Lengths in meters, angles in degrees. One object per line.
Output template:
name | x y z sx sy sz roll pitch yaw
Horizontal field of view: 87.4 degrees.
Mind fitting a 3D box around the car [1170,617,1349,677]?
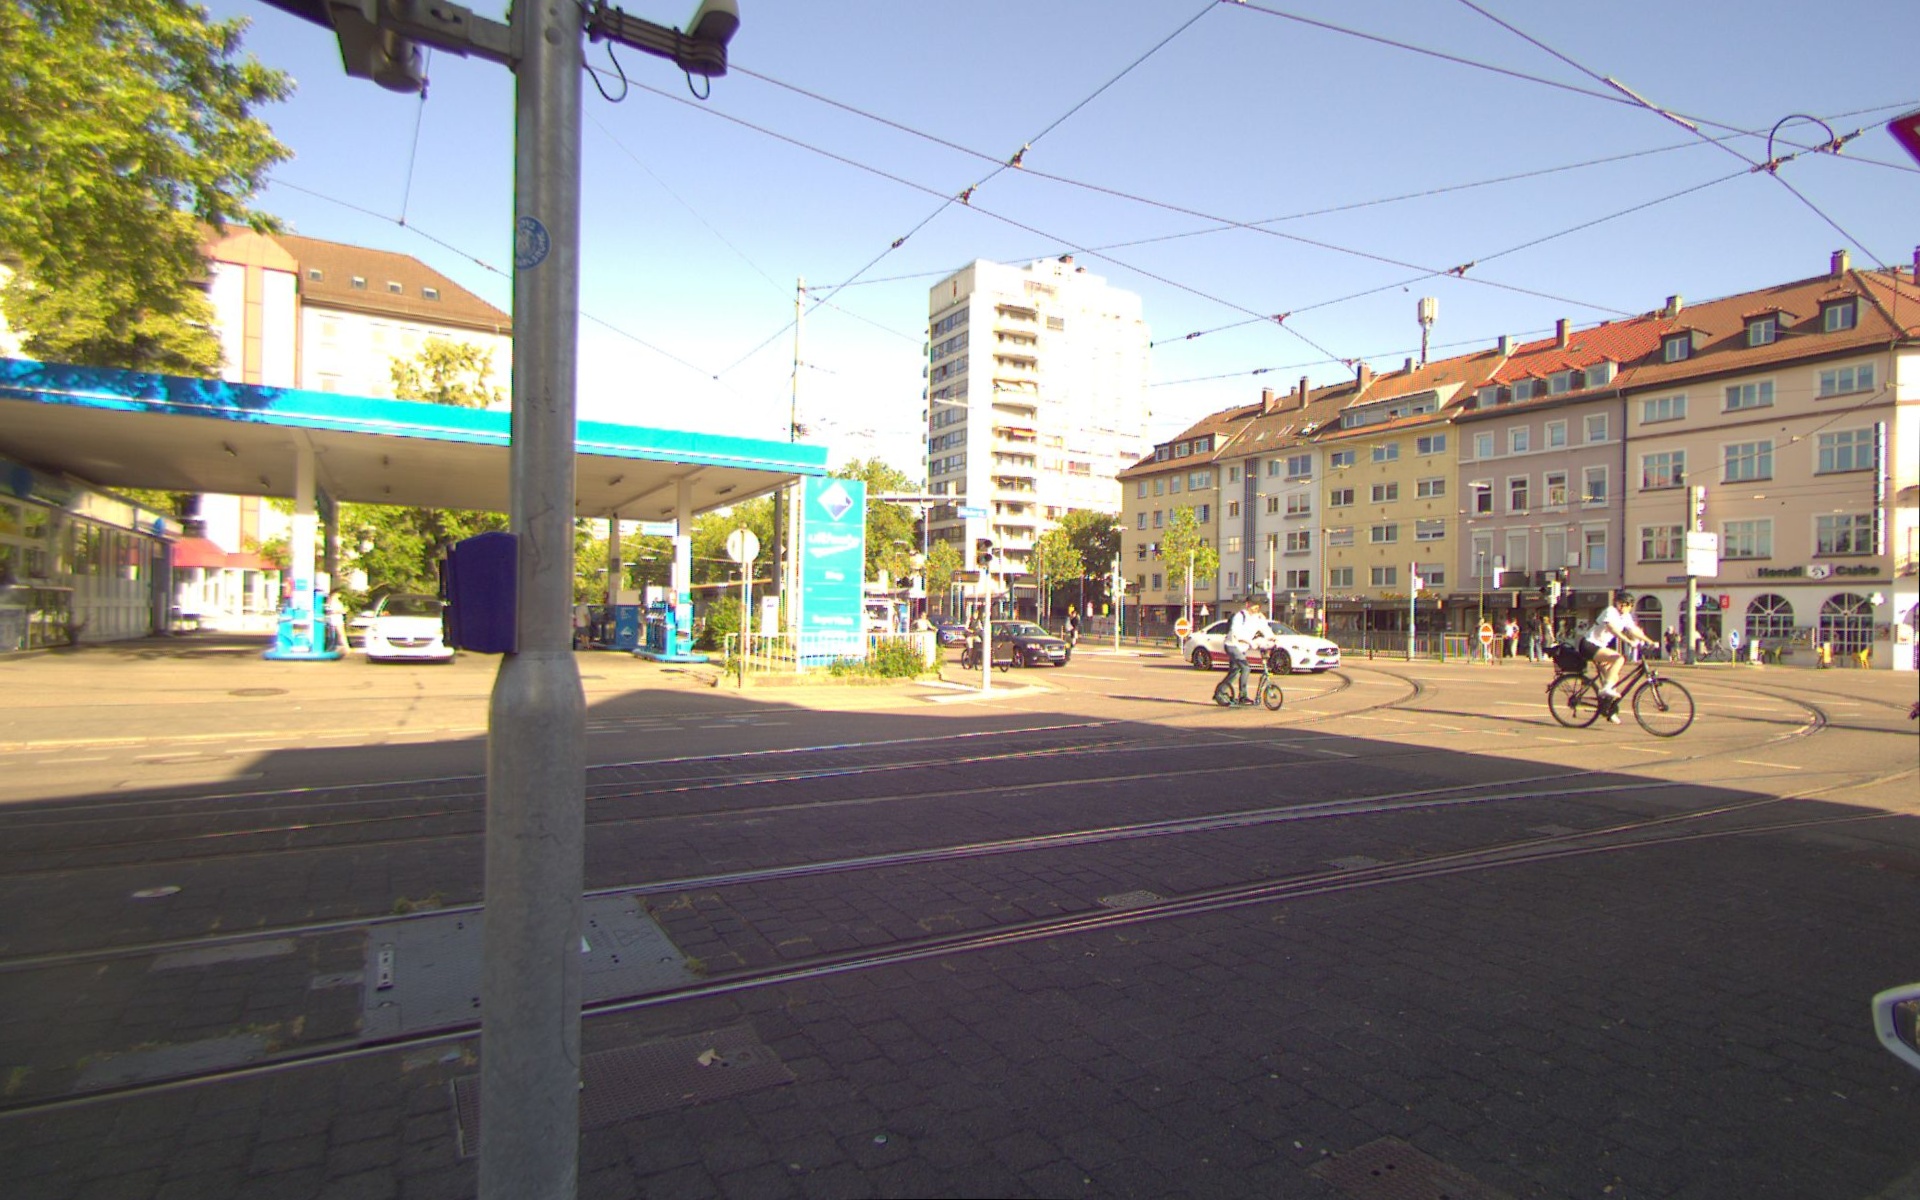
car | 8.079 1.223 27.515 1.725 1.492 4.639 1 -1 -36

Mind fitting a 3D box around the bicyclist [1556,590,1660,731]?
bicyclist | 8.374 0.753 12.996 0.727 1.735 0.932 1 -1 -37

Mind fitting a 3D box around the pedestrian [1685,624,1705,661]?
pedestrian | 34.399 1.980 47.010 0.731 1.704 0.626 0 -1 35

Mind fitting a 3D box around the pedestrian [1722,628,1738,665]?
pedestrian | 26.953 1.631 35.140 0.447 1.270 0.361 1 -1 -41

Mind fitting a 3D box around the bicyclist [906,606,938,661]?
bicyclist | -1.234 1.093 32.503 0.725 1.737 0.794 1 -2 -31

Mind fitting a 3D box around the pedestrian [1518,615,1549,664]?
pedestrian | 22.216 1.528 38.899 0.714 1.853 0.763 1 -1 -30

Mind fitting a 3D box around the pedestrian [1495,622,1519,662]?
pedestrian | 22.632 1.724 41.562 0.554 1.602 0.694 1 -1 -35

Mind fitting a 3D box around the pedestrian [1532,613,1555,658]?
pedestrian | 23.312 1.413 40.129 0.553 1.810 0.557 1 -1 -30

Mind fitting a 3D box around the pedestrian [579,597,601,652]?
pedestrian | -11.818 0.782 32.058 0.579 1.715 0.756 1 -1 -25

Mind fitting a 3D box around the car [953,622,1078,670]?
car | 1.666 1.383 31.470 1.630 1.399 4.241 1 -2 -36

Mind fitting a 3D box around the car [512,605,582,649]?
car | -13.572 0.854 32.874 1.697 1.360 3.970 1 -1 -28

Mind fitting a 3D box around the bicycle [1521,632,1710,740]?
bicycle | 8.402 1.054 12.958 0.736 1.239 1.909 1 -1 -37

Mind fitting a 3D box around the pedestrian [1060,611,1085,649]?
pedestrian | 4.887 1.307 43.703 0.788 1.632 0.766 1 -1 -36

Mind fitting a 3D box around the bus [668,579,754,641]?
bus | -15.139 0.518 60.610 2.755 3.504 8.571 0 1 -30

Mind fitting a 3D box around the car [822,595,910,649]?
car | -4.615 1.018 48.659 2.059 2.465 5.079 0 0 -34

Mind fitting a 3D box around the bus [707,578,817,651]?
bus | -10.619 0.648 52.871 2.748 3.504 9.364 0 1 -31

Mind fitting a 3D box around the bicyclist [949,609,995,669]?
bicyclist | 0.335 1.092 28.578 0.923 1.659 1.020 1 -1 -30

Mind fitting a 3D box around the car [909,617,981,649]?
car | -0.770 1.533 47.866 1.697 1.439 4.149 1 -1 -28

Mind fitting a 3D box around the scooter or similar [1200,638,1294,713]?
scooter or similar | 4.423 1.143 15.555 0.558 1.057 1.424 1 -1 -30

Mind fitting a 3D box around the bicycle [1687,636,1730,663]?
bicycle | 37.713 2.471 50.615 1.693 1.293 0.385 0 -1 44

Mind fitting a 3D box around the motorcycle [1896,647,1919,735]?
motorcycle | 13.202 1.193 12.663 0.500 1.133 2.008 1 -1 -40

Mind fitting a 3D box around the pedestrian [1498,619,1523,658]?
pedestrian | 24.186 1.682 44.148 0.621 1.704 0.763 1 -1 -30

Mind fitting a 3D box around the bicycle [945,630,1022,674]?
bicycle | 0.633 1.432 28.045 1.047 1.116 2.500 1 -1 -29

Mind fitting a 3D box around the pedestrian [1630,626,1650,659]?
pedestrian | 36.030 2.239 53.236 0.623 1.704 0.734 1 -1 -41

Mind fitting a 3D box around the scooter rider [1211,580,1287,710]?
scooter rider | 4.458 0.674 15.528 0.788 1.937 0.791 1 0 -30

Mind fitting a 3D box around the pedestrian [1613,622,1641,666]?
pedestrian | 26.458 1.732 39.836 0.621 1.704 0.737 1 -1 -30

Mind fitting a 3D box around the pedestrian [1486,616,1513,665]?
pedestrian | 21.078 1.577 39.251 0.769 1.874 0.625 1 -1 -30

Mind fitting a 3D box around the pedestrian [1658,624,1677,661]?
pedestrian | 33.907 2.027 48.175 0.731 1.704 0.626 0 -1 35

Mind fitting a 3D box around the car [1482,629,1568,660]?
car | 30.748 2.403 54.775 1.795 1.511 3.715 2 0 -27

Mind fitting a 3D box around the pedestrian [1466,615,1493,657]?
pedestrian | 20.906 1.446 40.426 0.565 1.657 0.737 1 -1 -30

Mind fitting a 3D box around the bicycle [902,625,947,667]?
bicycle | -1.162 1.473 32.363 0.616 1.316 1.931 1 -2 -31

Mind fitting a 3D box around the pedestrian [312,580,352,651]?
pedestrian | -15.400 0.389 24.658 0.751 1.715 0.583 1 -1 -28

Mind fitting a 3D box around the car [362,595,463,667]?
car | -12.352 0.667 22.553 1.793 1.461 3.966 1 -1 -31
